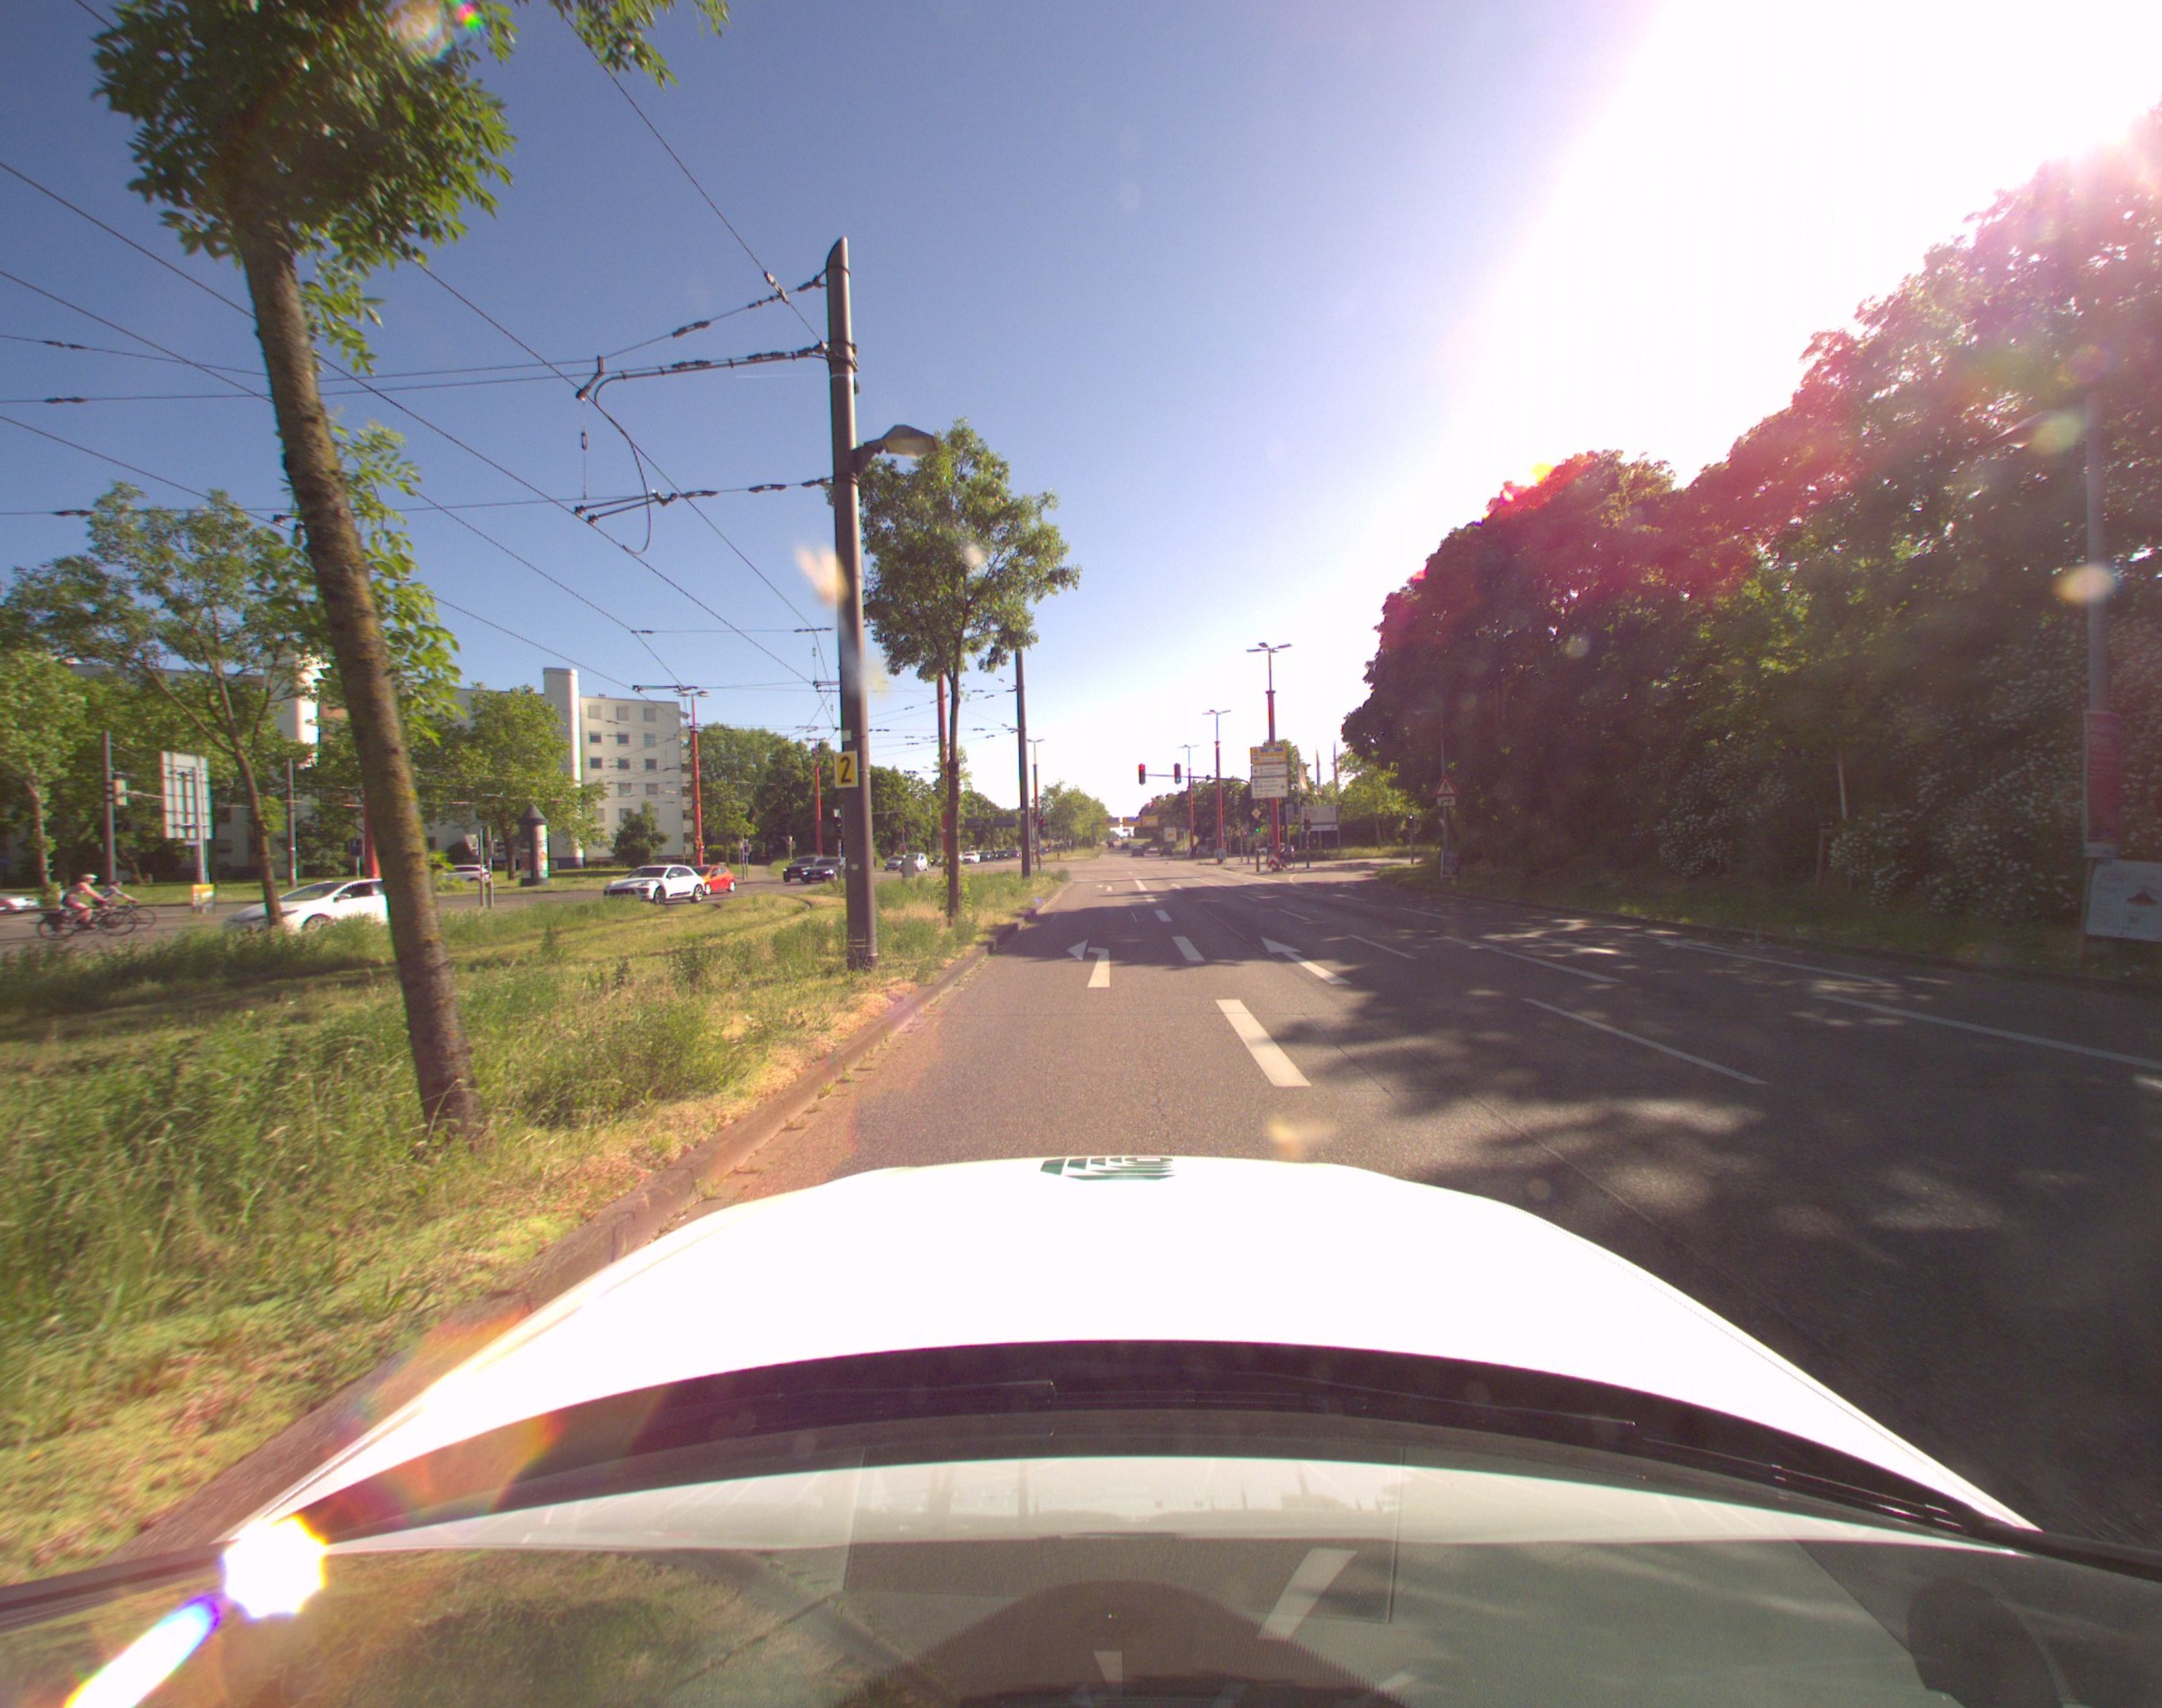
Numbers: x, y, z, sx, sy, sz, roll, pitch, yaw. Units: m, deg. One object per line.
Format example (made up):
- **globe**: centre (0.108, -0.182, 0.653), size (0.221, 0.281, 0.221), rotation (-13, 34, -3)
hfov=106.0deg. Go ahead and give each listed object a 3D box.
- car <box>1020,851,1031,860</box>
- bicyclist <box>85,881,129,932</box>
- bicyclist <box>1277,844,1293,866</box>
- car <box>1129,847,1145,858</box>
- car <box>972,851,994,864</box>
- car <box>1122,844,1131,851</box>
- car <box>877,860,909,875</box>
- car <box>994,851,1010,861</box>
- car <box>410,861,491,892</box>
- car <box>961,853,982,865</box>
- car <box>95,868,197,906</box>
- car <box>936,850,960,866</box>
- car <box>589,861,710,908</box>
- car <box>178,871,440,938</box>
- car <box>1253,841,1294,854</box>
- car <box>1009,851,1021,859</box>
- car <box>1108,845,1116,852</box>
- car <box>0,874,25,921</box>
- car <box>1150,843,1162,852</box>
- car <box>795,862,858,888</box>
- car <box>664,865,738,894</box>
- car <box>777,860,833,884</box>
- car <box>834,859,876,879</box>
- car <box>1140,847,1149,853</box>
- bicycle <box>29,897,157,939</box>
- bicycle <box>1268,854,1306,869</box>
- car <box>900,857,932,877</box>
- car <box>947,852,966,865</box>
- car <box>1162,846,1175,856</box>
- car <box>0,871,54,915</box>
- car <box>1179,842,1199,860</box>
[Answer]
- **car**: centre (-10.398, 0.266, 152.122), size (1.598, 1.459, 3.953), rotation (-1, 0, 2)
- **bicyclist**: centre (-29.030, 1.546, 24.289), size (0.761, 1.430, 0.743), rotation (0, 0, -45)
- **bicyclist**: centre (12.344, 0.052, 49.269), size (0.739, 1.341, 0.706), rotation (-1, 0, -8)
- **car**: centre (8.208, -0.266, 120.372), size (1.988, 1.496, 3.997), rotation (-1, 0, -2)
- **car**: centre (-13.049, 0.461, 108.836), size (1.985, 1.594, 4.468), rotation (-2, 0, 4)
- **car**: centre (12.183, -1.716, 218.251), size (2.146, 2.013, 4.002), rotation (-2, 0, 2)
- **car**: centre (-18.192, 1.293, 78.944), size (1.987, 1.374, 4.400), rotation (-1, 0, 1)
- **car**: centre (-12.020, 0.287, 124.538), size (1.869, 1.485, 4.605), rotation (-1, 0, 1)
- **car**: centre (-45.503, 1.590, 58.890), size (4.425, 2.013, 1.979), rotation (-2, 0, -34)
- **car**: centre (-13.237, 0.588, 98.464), size (1.697, 1.423, 4.645), rotation (-2, 0, 2)
- **car**: centre (-62.196, 2.156, 54.246), size (1.875, 2.310, 4.016), rotation (-1, 0, 15)
- **car**: centre (-13.993, 0.401, 85.981), size (1.582, 1.472, 4.187), rotation (-3, 1, 3)
- **car**: centre (-16.544, 1.121, 31.524), size (1.886, 1.621, 4.663), rotation (-1, 0, 5)
- **car**: centre (-19.026, 1.178, 20.424), size (1.889, 1.398, 4.553), rotation (-1, 0, 8)
- **car**: centre (21.860, -0.710, 92.547), size (4.342, 1.371, 2.071), rotation (-1, 0, 18)
- **car**: centre (-11.591, 0.203, 142.531), size (1.542, 1.377, 4.264), rotation (-1, 0, 1)
- **car**: centre (9.050, -1.717, 239.189), size (1.987, 2.013, 3.999), rotation (-1, 0, 0)
- **car**: centre (-46.573, 1.836, 32.913), size (4.287, 1.901, 1.981), rotation (-1, 0, -29)
- **car**: centre (13.692, -1.186, 149.810), size (1.986, 1.540, 4.002), rotation (-1, 0, 2)
- **car**: centre (-15.388, 1.218, 49.497), size (1.985, 1.409, 4.995), rotation (-1, 0, 3)
- **car**: centre (-18.944, 1.234, 40.811), size (1.651, 1.297, 4.178), rotation (-1, 0, 1)
- **car**: centre (-18.465, 1.180, 54.690), size (1.985, 1.481, 4.635), rotation (-1, 0, 3)
- **car**: centre (-18.335, 1.167, 66.241), size (1.986, 1.432, 4.695), rotation (-2, 0, 1)
- **car**: centre (15.460, -0.943, 199.168), size (1.986, 1.540, 4.002), rotation (-1, 0, 2)
- **bicycle**: centre (-29.207, 1.880, 24.136), size (2.374, 1.081, 0.468), rotation (-1, 0, -44)
- **bicycle**: centre (12.464, 0.461, 49.288), size (2.161, 0.878, 0.558), rotation (-1, 0, -10)
- **car**: centre (-14.284, 1.082, 70.592), size (1.756, 1.608, 3.760), rotation (-2, 0, 3)
- **car**: centre (-16.643, 0.592, 108.813), size (1.869, 1.576, 4.000), rotation (-1, 0, 0)
- **car**: centre (13.263, -0.461, 124.106), size (1.731, 1.341, 3.083), rotation (-1, 0, 2)
- **car**: centre (-48.493, 1.729, 35.438), size (4.287, 1.901, 1.981), rotation (-1, 0, -29)
- **car**: centre (11.946, -0.292, 89.886), size (1.981, 1.887, 4.011), rotation (-1, 0, 10)
